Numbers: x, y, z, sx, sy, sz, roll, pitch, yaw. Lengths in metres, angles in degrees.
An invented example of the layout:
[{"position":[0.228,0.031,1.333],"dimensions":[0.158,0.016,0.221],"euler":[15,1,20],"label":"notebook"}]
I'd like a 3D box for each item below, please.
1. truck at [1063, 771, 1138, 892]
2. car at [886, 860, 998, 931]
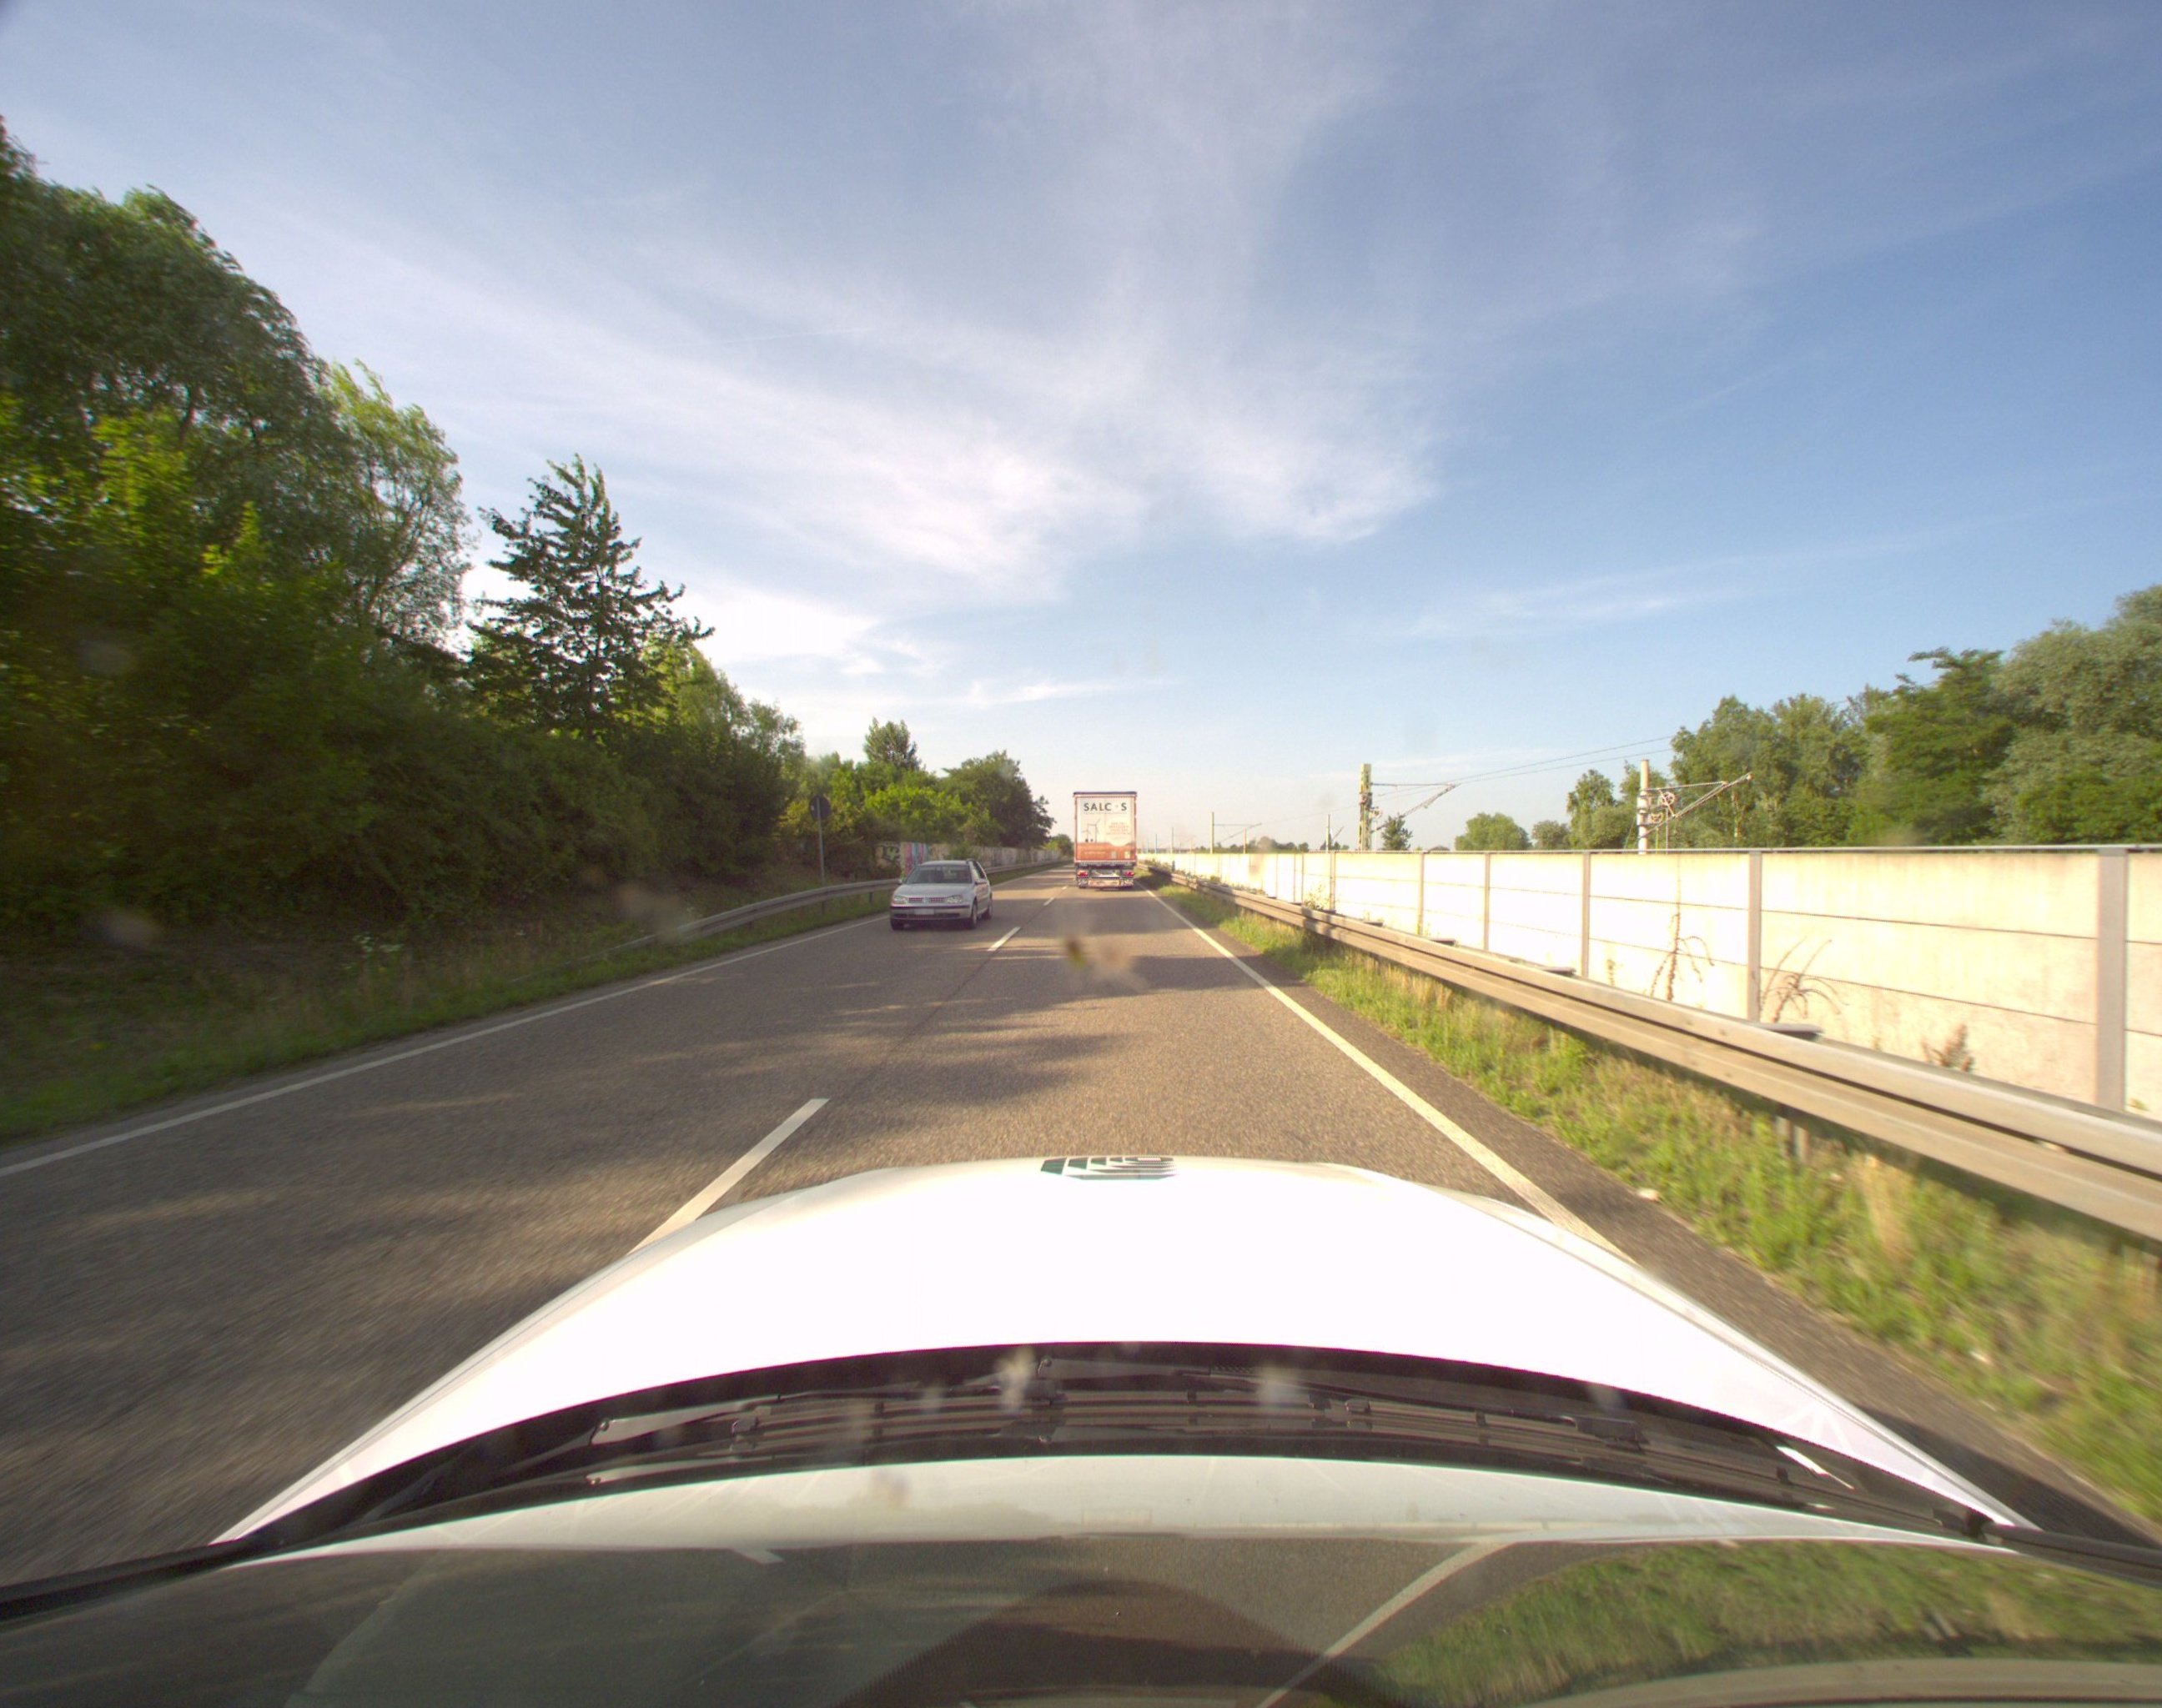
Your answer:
[{"position":[0.831,-0.932,39.022],"dimensions":[3.023,4.920,11.683],"euler":[0,0,0],"label":"truck"},{"position":[-2.973,0.846,18.297],"dimensions":[1.714,1.394,4.360],"euler":[0,-1,0],"label":"car"}]
